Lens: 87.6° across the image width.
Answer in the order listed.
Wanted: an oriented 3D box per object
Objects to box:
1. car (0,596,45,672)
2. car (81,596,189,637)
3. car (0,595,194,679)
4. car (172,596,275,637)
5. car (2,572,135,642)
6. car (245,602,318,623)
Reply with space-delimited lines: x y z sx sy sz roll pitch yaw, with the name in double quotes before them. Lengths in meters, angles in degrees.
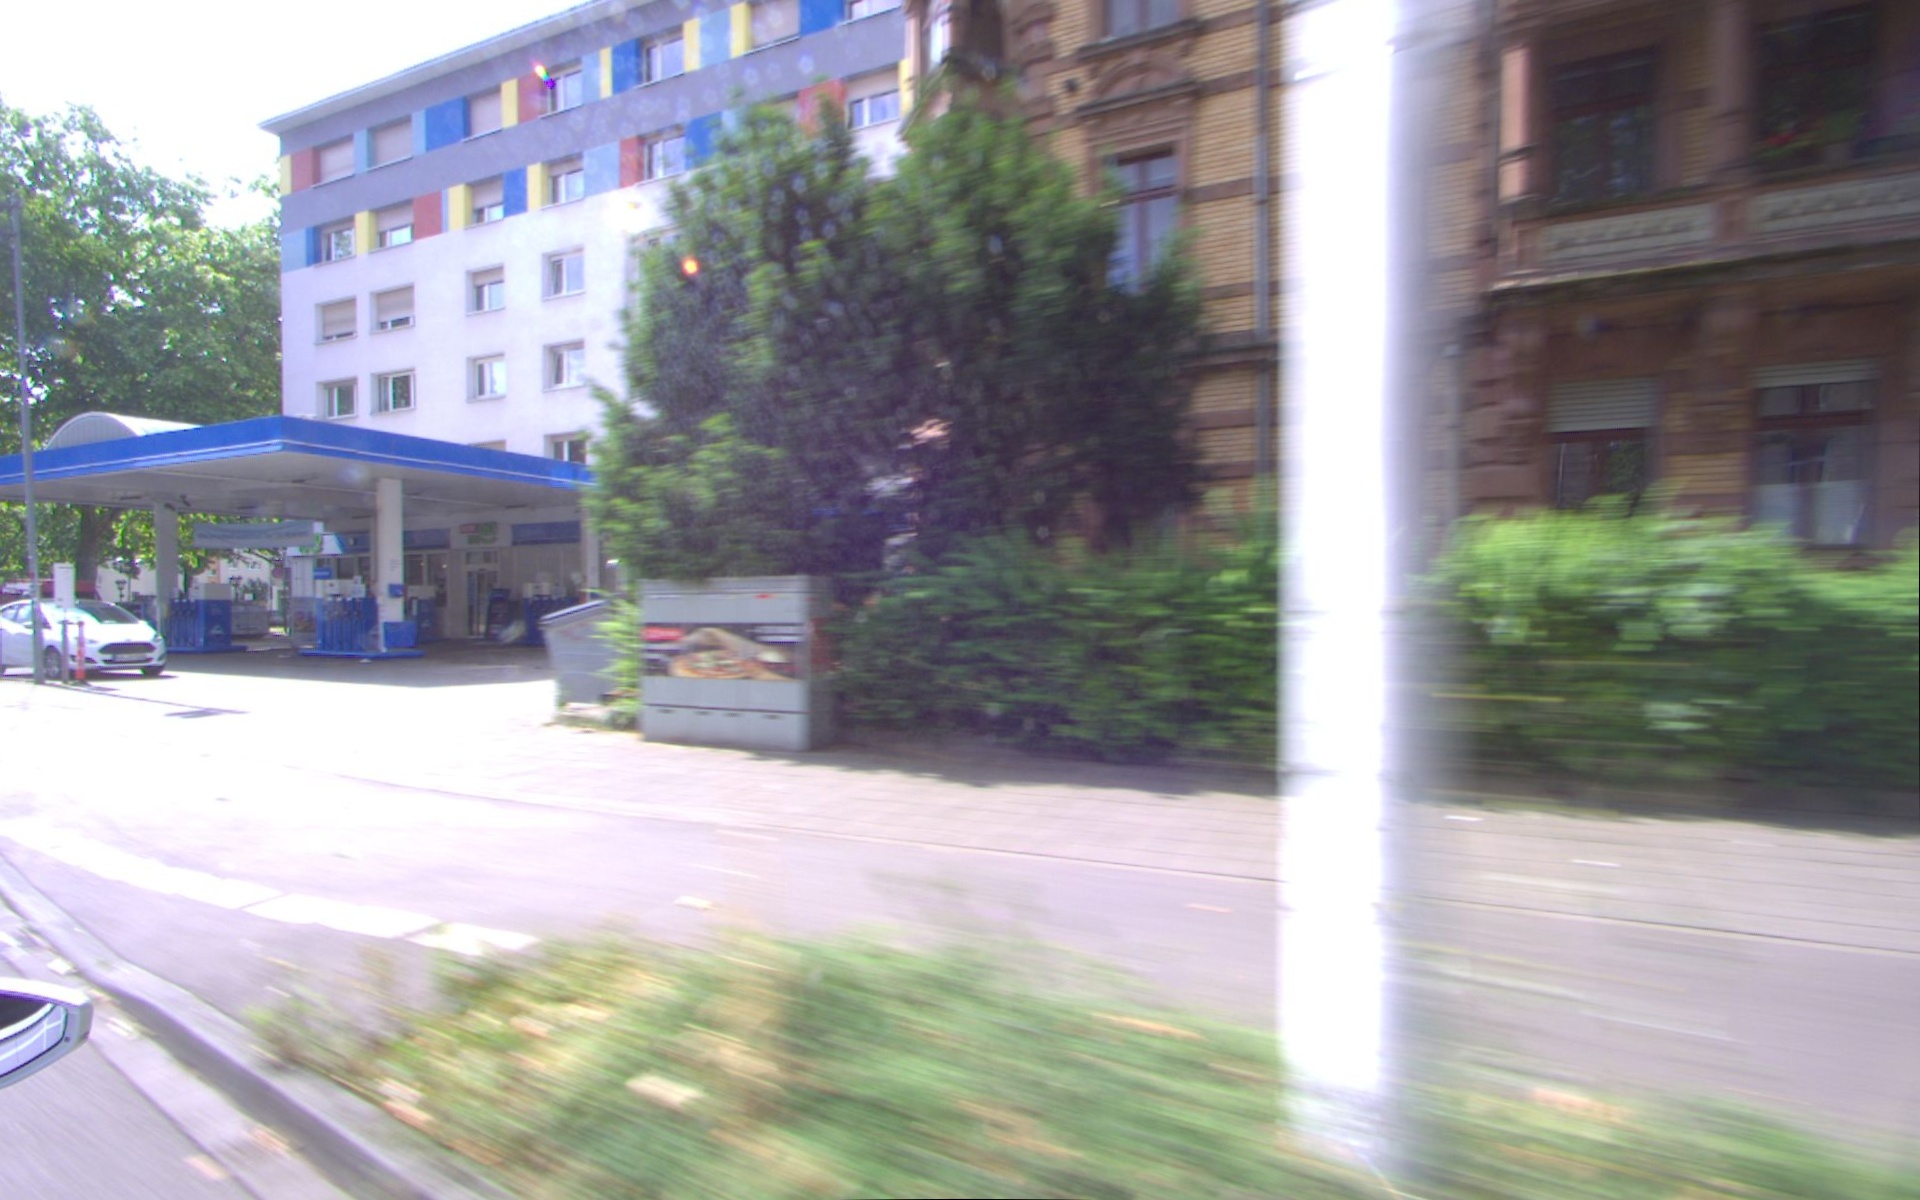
"car" -22.528 0.729 22.268 4.510 1.623 1.805 0 0 28
"car" -35.472 0.704 43.039 4.580 1.672 2.005 0 -1 29
"car" -16.753 0.656 19.152 3.937 1.474 1.805 0 0 26
"car" -33.311 0.743 45.255 4.580 1.777 2.005 0 -1 29
"car" -35.836 0.261 40.198 5.926 2.616 2.109 0 0 29
"car" -57.954 1.071 85.627 2.158 1.729 4.676 0 0 29
